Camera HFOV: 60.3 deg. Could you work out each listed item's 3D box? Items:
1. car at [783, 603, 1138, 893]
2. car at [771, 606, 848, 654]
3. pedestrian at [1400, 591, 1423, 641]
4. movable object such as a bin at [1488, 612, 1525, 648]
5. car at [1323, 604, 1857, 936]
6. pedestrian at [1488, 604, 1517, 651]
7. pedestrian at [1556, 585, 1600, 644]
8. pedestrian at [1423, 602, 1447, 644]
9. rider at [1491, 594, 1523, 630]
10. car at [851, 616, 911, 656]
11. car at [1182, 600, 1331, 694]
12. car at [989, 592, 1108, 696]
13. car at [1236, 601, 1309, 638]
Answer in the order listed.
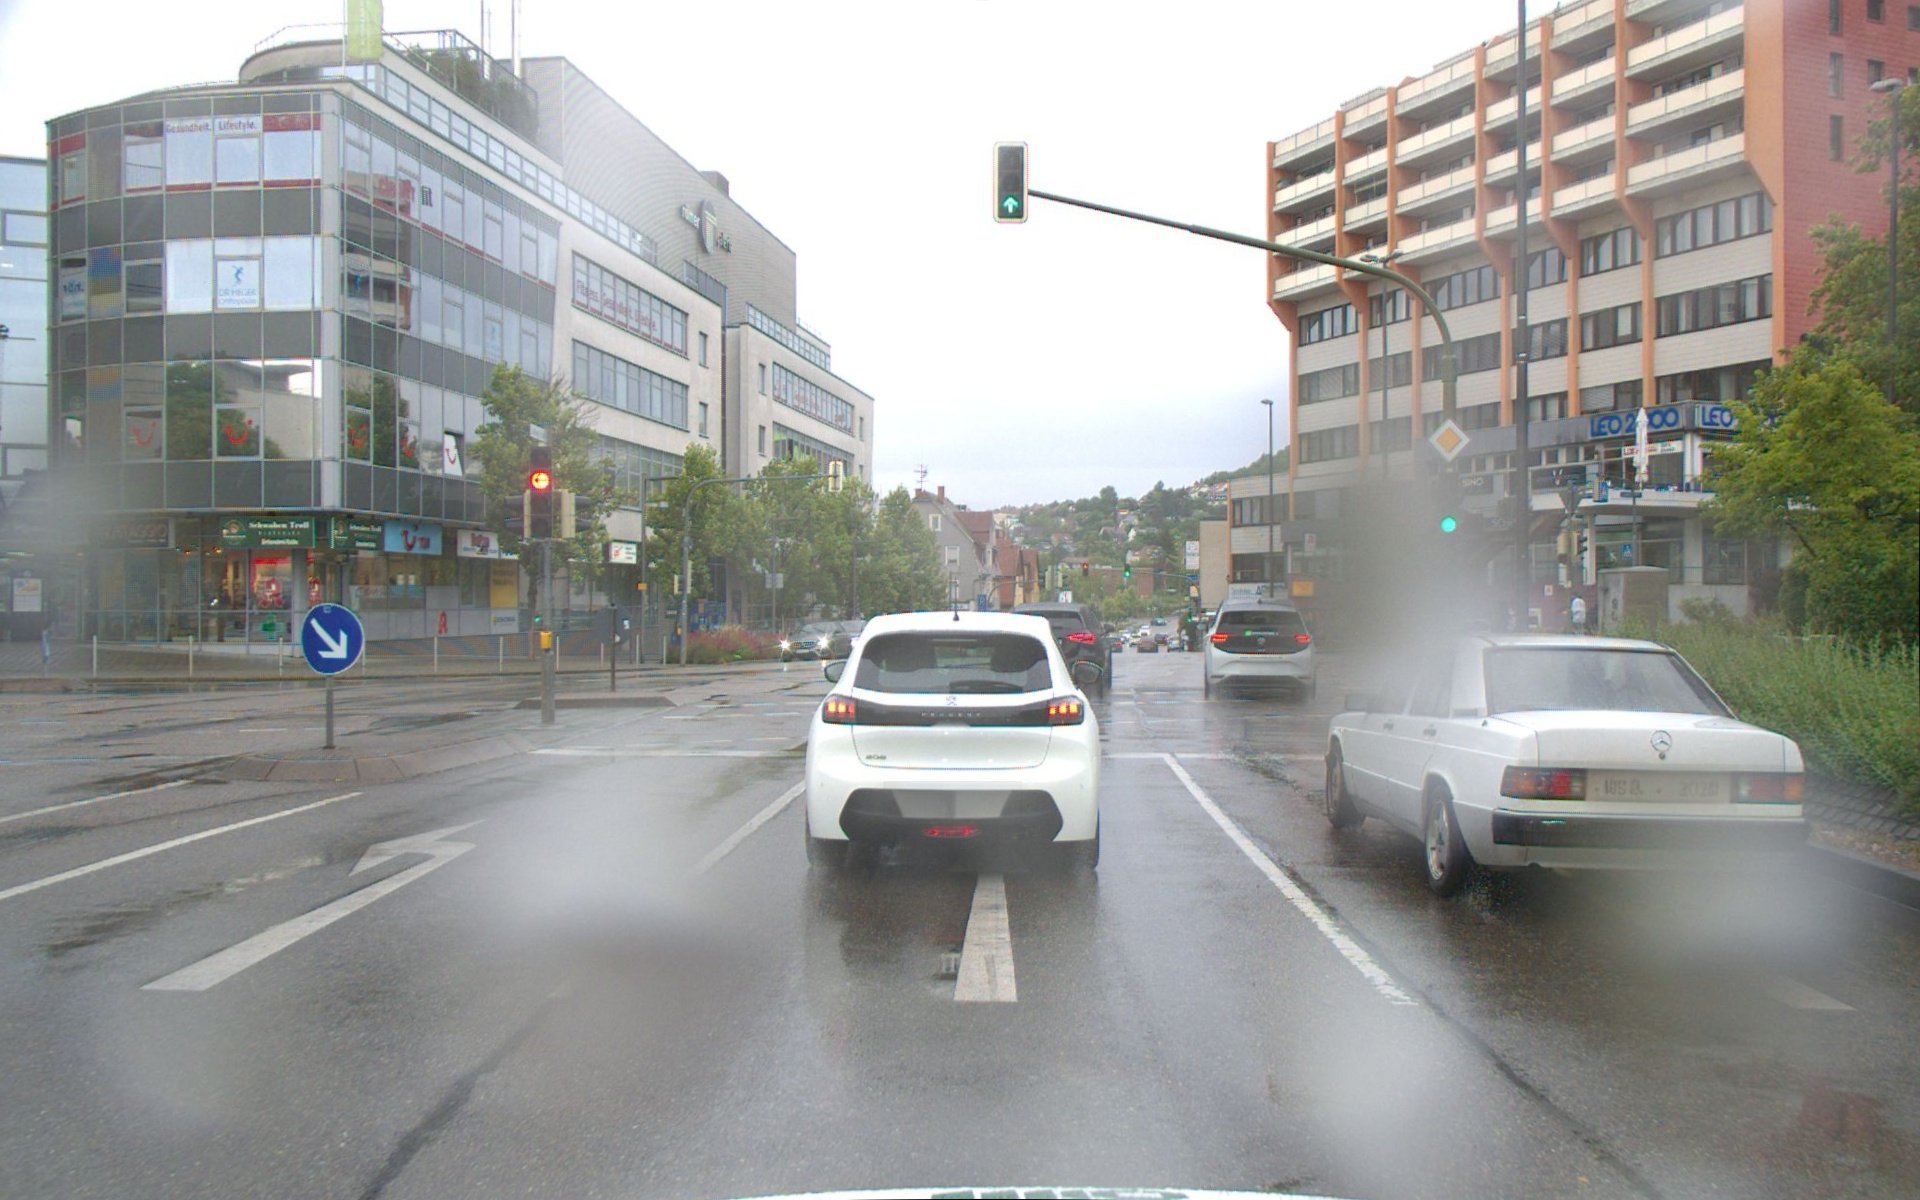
[{"bbox_3d":[0.057,0.773,10.549,1.833,1.488,3.874,1,0,2],"label":"car"},{"bbox_3d":[-5.510,1.084,61.157,1.879,1.660,4.906,1,0,6],"label":"car"},{"bbox_3d":[14.947,0.531,54.763,0.692,1.635,0.656,1,0,12],"label":"pedestrian"},{"bbox_3d":[20.717,1.141,62.715,1.106,1.355,1.455,0,-1,8],"label":"movable object such as a bin"},{"bbox_3d":[3.350,0.809,9.698,1.600,1.474,4.269,1,-1,2],"label":"car"},{"bbox_3d":[19.514,0.981,59.498,0.777,1.698,0.931,-1,-1,4],"label":"pedestrian"},{"bbox_3d":[18.208,0.430,48.738,0.812,1.720,1.128,0,-1,-4],"label":"pedestrian"},{"bbox_3d":[15.842,0.771,55.183,0.692,1.369,0.656,-1,-1,11],"label":"pedestrian"},{"bbox_3d":[20.714,0.455,62.698,0.902,1.307,1.091,-3,0,8],"label":"rider"},{"bbox_3d":[-3.566,1.623,75.200,1.736,1.621,4.591,-4,-1,9],"label":"car"},{"bbox_3d":[4.770,0.734,27.036,1.872,1.425,3.458,0,-1,1],"label":"car"},{"bbox_3d":[1.371,0.691,26.669,1.778,1.557,3.812,0,-1,1],"label":"car"},{"bbox_3d":[19.934,1.272,105.787,1.971,2.265,4.930,-1,-1,-28],"label":"car"}]
